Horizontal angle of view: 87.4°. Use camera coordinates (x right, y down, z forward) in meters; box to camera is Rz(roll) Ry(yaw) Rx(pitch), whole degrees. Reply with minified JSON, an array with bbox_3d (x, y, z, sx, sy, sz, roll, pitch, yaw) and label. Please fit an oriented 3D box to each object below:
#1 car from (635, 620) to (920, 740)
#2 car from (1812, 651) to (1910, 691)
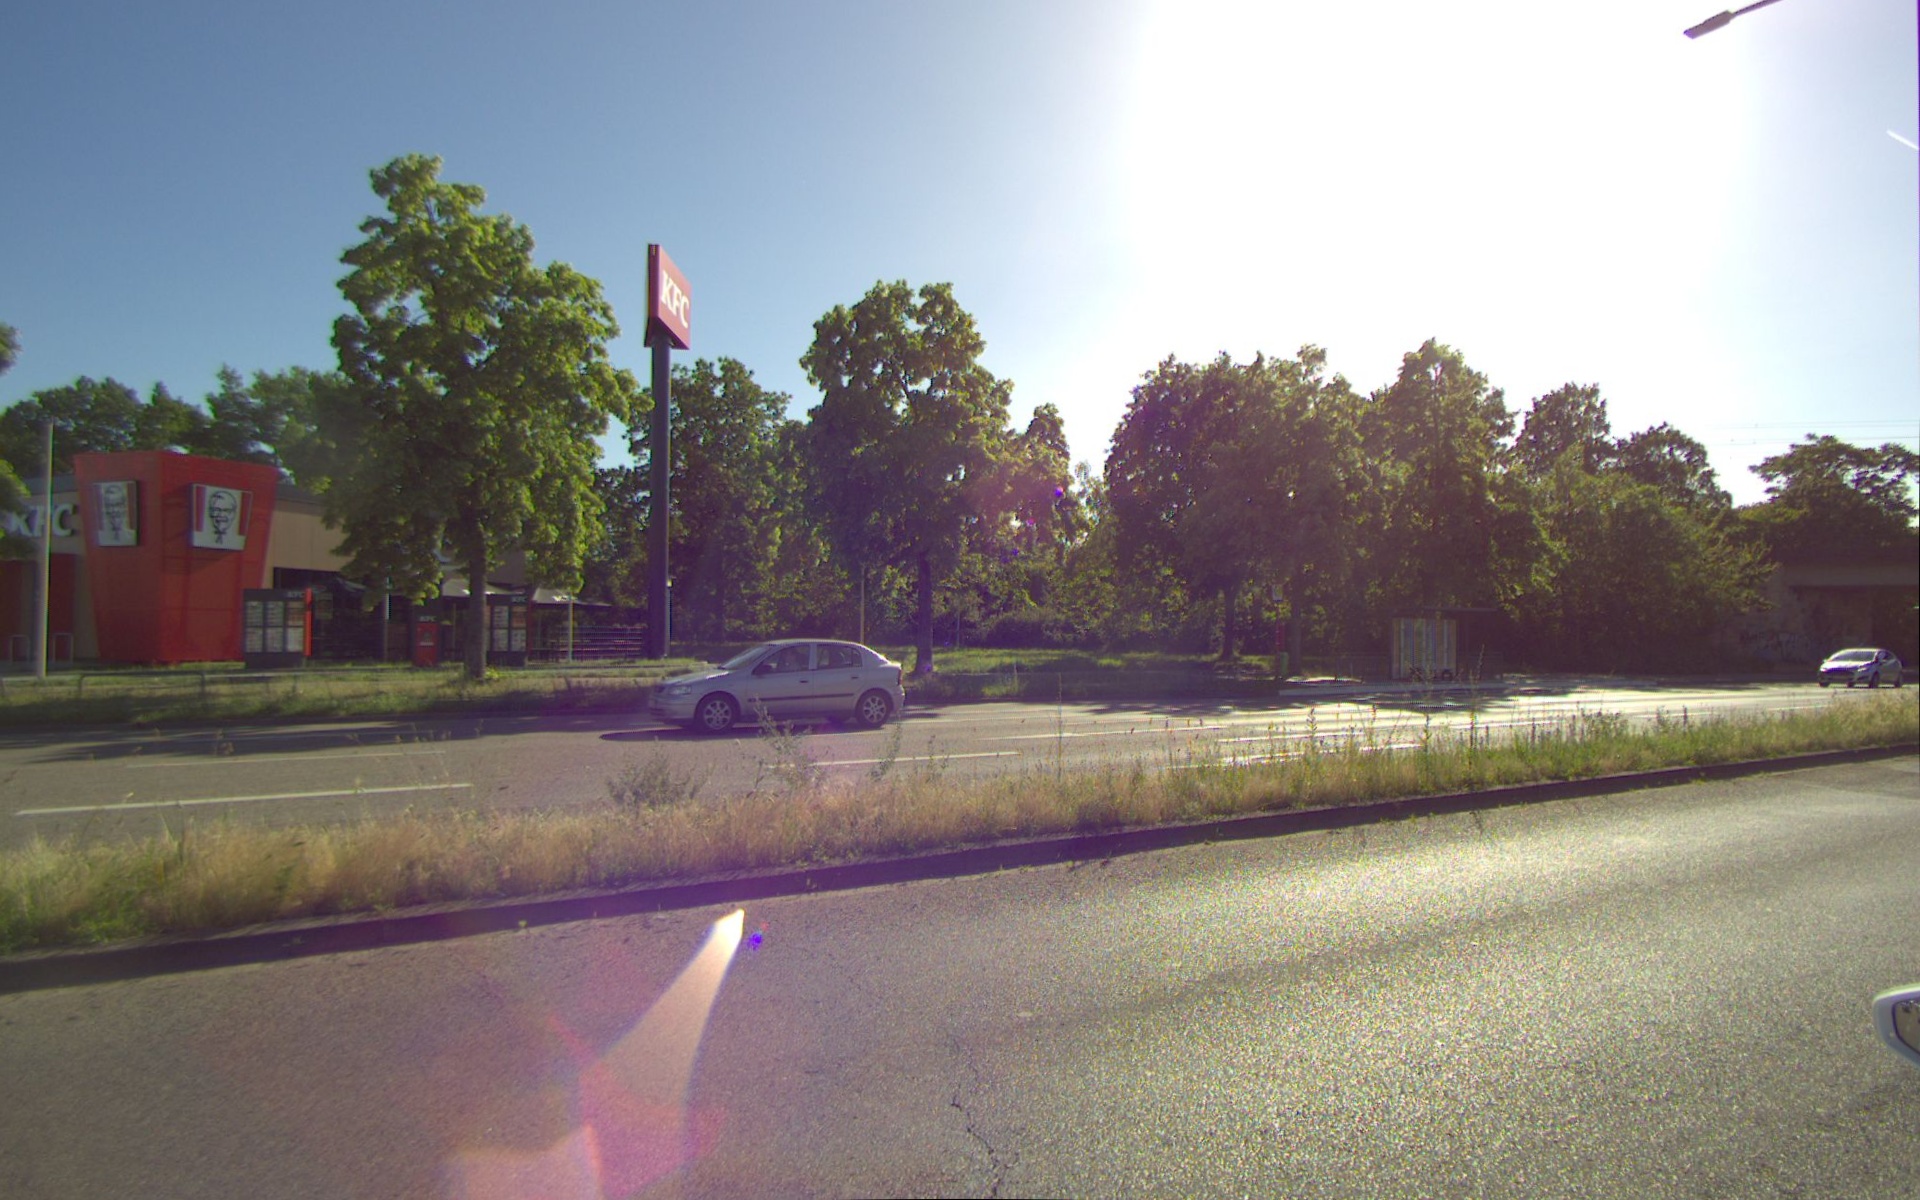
[{"bbox_3d":[-2.924,1.256,16.273,4.128,1.706,1.984,2,-3,-31],"label":"car"},{"bbox_3d":[34.510,2.708,38.467,4.064,1.469,1.633,2,-4,-31],"label":"car"}]
